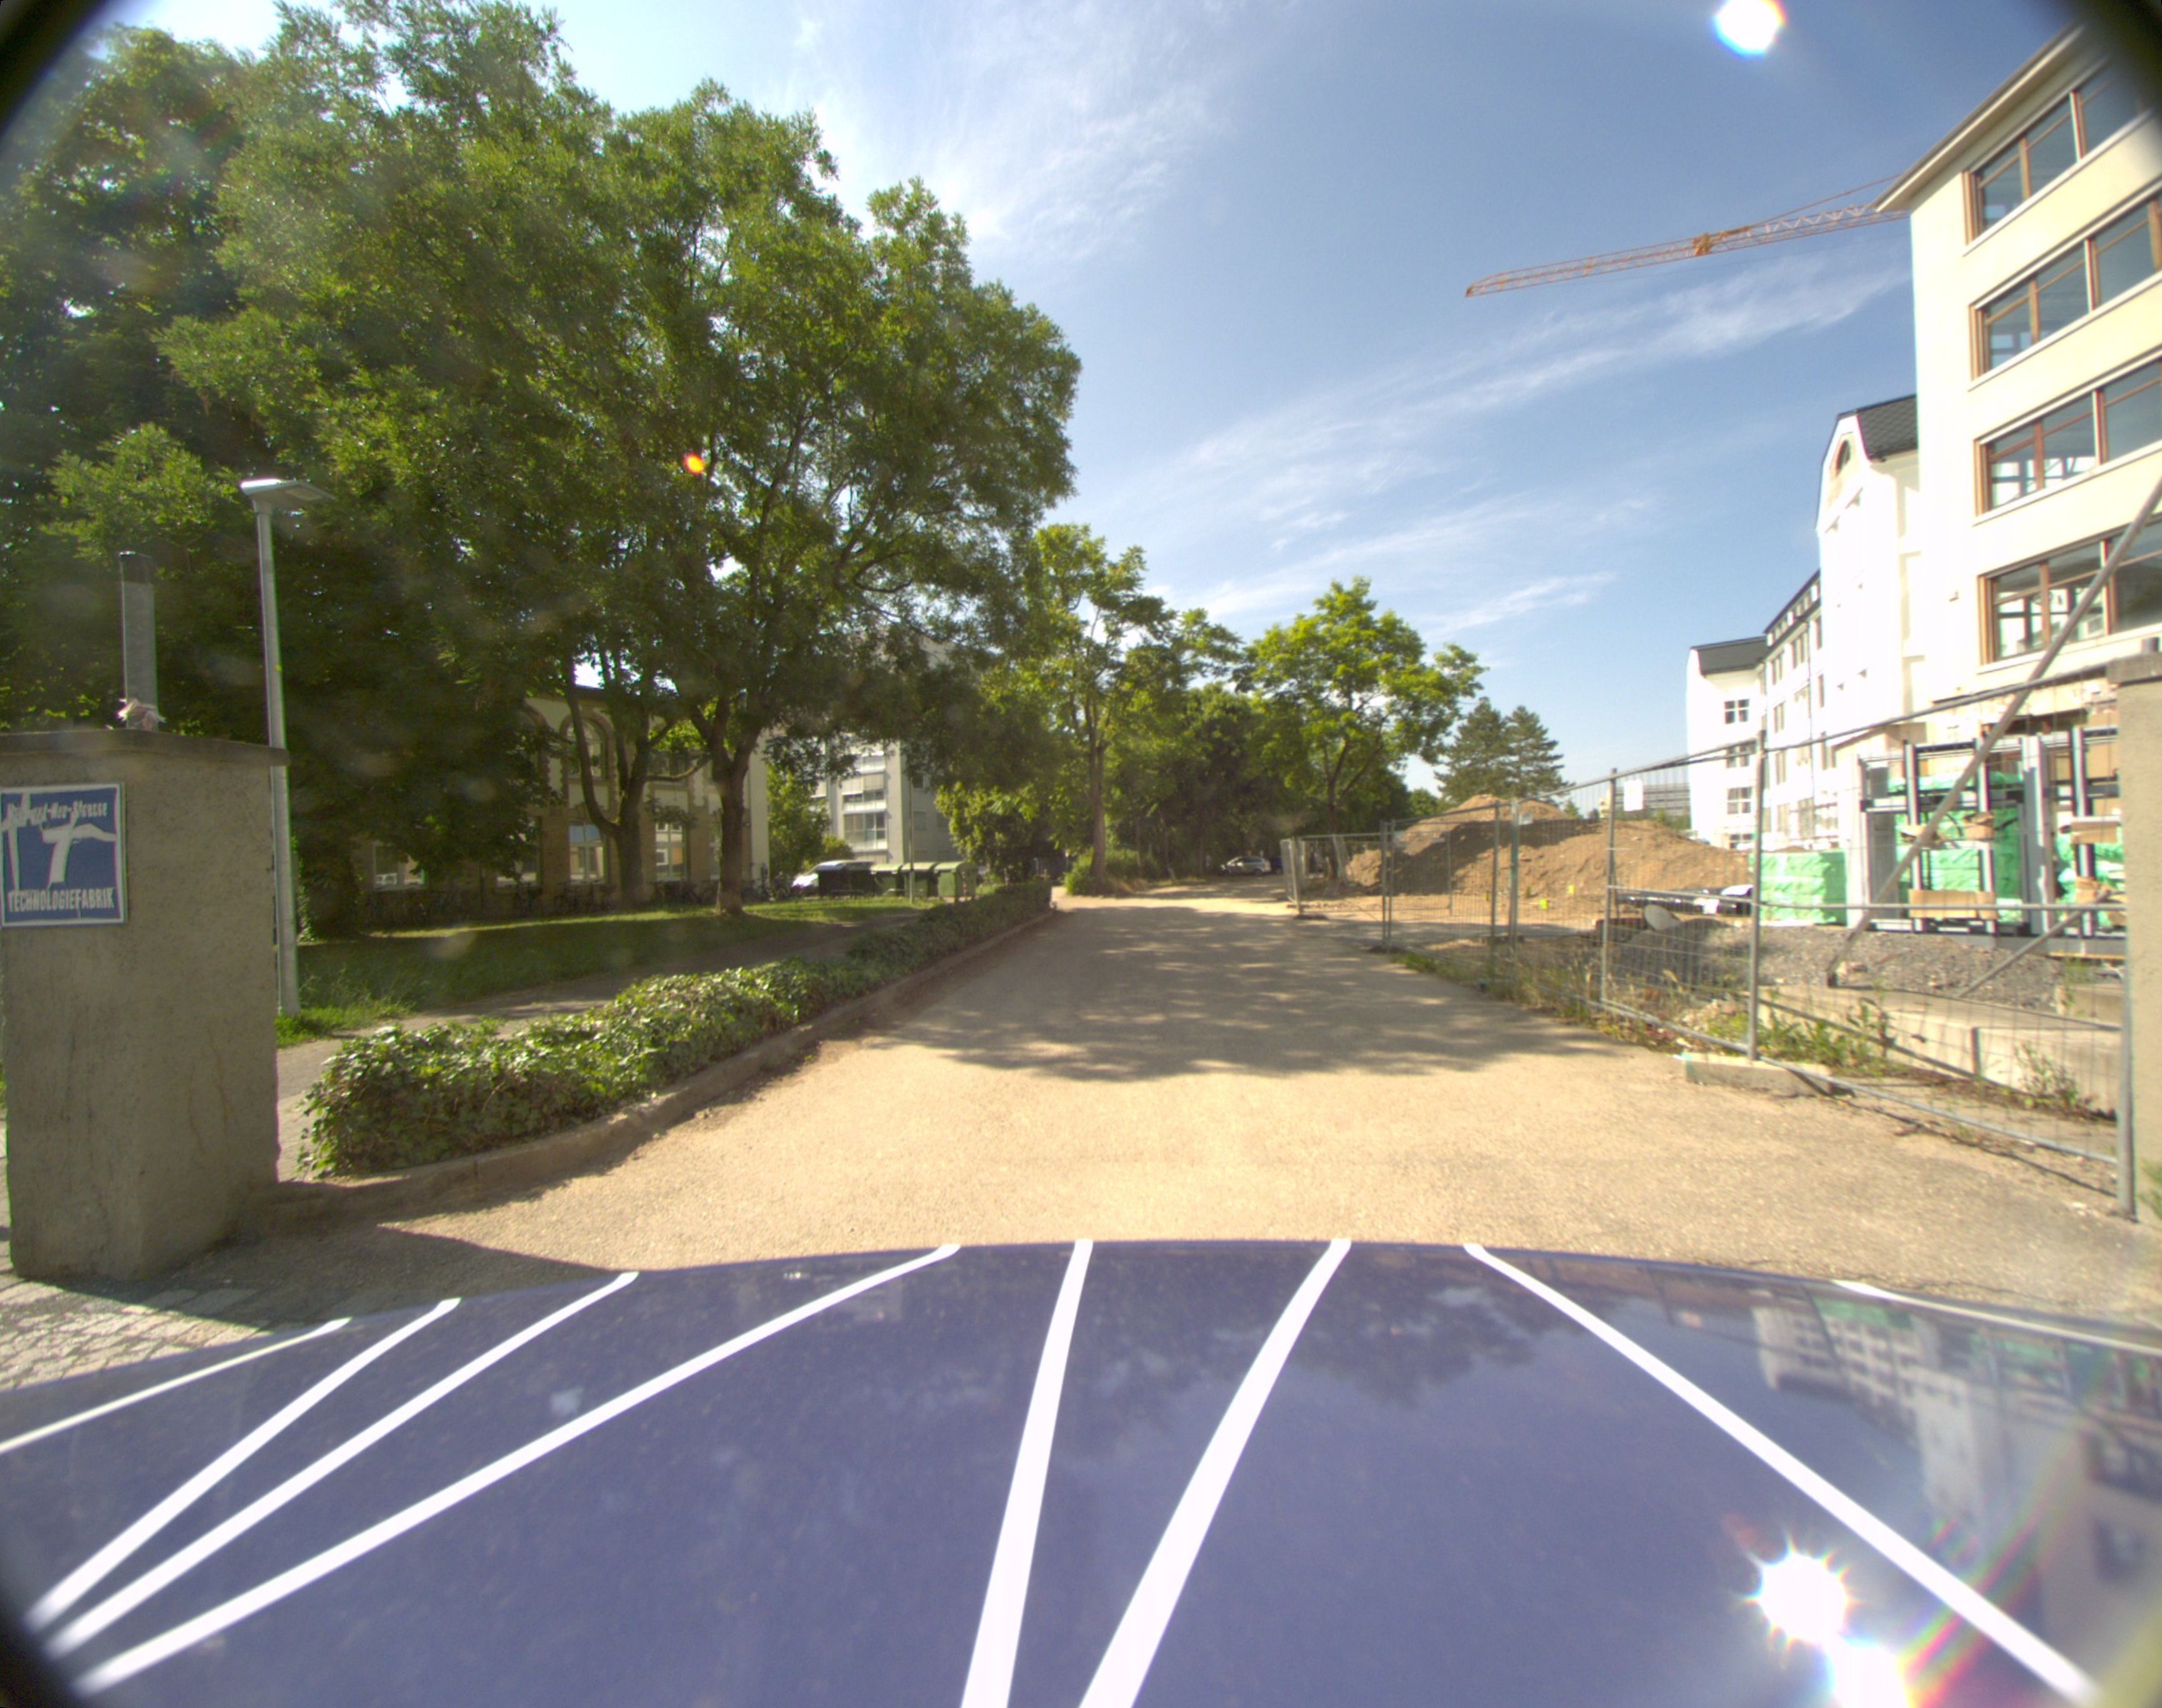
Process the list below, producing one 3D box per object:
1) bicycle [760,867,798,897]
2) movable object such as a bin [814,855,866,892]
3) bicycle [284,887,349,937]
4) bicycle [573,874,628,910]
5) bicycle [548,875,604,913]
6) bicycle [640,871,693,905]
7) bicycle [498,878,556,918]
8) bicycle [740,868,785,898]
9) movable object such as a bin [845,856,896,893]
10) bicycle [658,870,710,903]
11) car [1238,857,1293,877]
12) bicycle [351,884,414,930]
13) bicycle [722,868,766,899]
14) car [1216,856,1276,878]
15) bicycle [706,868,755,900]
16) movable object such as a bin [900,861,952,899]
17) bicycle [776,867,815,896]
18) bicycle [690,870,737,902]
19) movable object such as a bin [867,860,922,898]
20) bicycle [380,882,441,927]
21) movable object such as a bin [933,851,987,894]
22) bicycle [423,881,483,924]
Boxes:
[{"bbox_3d":[-12.225,1.128,30.737,1.800,1.155,0.508,-1,1,35],"label":"bicycle"},{"bbox_3d":[-9.488,0.764,29.909,1.432,1.401,1.252,-2,1,26],"label":"movable object such as a bin"},{"bbox_3d":[-18.986,1.422,18.855,2.097,1.155,0.589,-2,1,30],"label":"bicycle"},{"bbox_3d":[-15.843,1.247,25.042,2.097,1.155,0.589,-2,1,30],"label":"bicycle"},{"bbox_3d":[-16.204,1.277,24.355,2.097,1.155,0.589,-2,1,30],"label":"bicycle"},{"bbox_3d":[-14.641,1.195,26.816,2.097,1.155,0.589,-2,1,30],"label":"bicycle"},{"bbox_3d":[-16.926,1.323,23.196,2.097,1.155,0.589,-2,1,30],"label":"bicycle"},{"bbox_3d":[-12.686,1.141,30.255,1.846,1.155,0.614,-2,1,30],"label":"bicycle"},{"bbox_3d":[-8.079,0.792,29.214,1.349,1.341,1.217,-2,1,27],"label":"movable object such as a bin"},{"bbox_3d":[-14.350,1.174,27.424,2.097,1.155,0.589,-2,1,30],"label":"bicycle"},{"bbox_3d":[14.881,1.048,61.308,3.990,1.433,2.003,-2,0,25],"label":"car"},{"bbox_3d":[-18.657,1.389,20.284,2.097,1.155,0.589,-2,1,30],"label":"bicycle"},{"bbox_3d":[-13.078,1.145,29.484,1.909,1.155,0.495,-2,1,30],"label":"bicycle"},{"bbox_3d":[12.244,0.948,56.474,3.990,1.499,2.003,-2,0,25],"label":"car"},{"bbox_3d":[-13.386,1.154,28.998,2.097,1.155,0.589,-2,1,30],"label":"bicycle"},{"bbox_3d":[-5.615,0.930,27.612,1.352,1.293,1.217,-2,1,27],"label":"movable object such as a bin"},{"bbox_3d":[-11.712,1.127,31.125,1.939,1.155,0.558,-1,1,40],"label":"bicycle"},{"bbox_3d":[-13.702,1.191,28.316,1.917,1.155,0.589,-2,1,30],"label":"bicycle"},{"bbox_3d":[-6.914,0.919,28.256,1.498,1.354,1.217,-2,1,27],"label":"movable object such as a bin"},{"bbox_3d":[-18.449,1.381,20.885,2.097,1.155,0.589,-2,1,30],"label":"bicycle"},{"bbox_3d":[-4.265,0.638,26.834,1.388,1.454,1.218,-1,1,42],"label":"movable object such as a bin"},{"bbox_3d":[-17.923,1.358,21.658,2.097,1.155,0.589,-2,1,30],"label":"bicycle"}]
